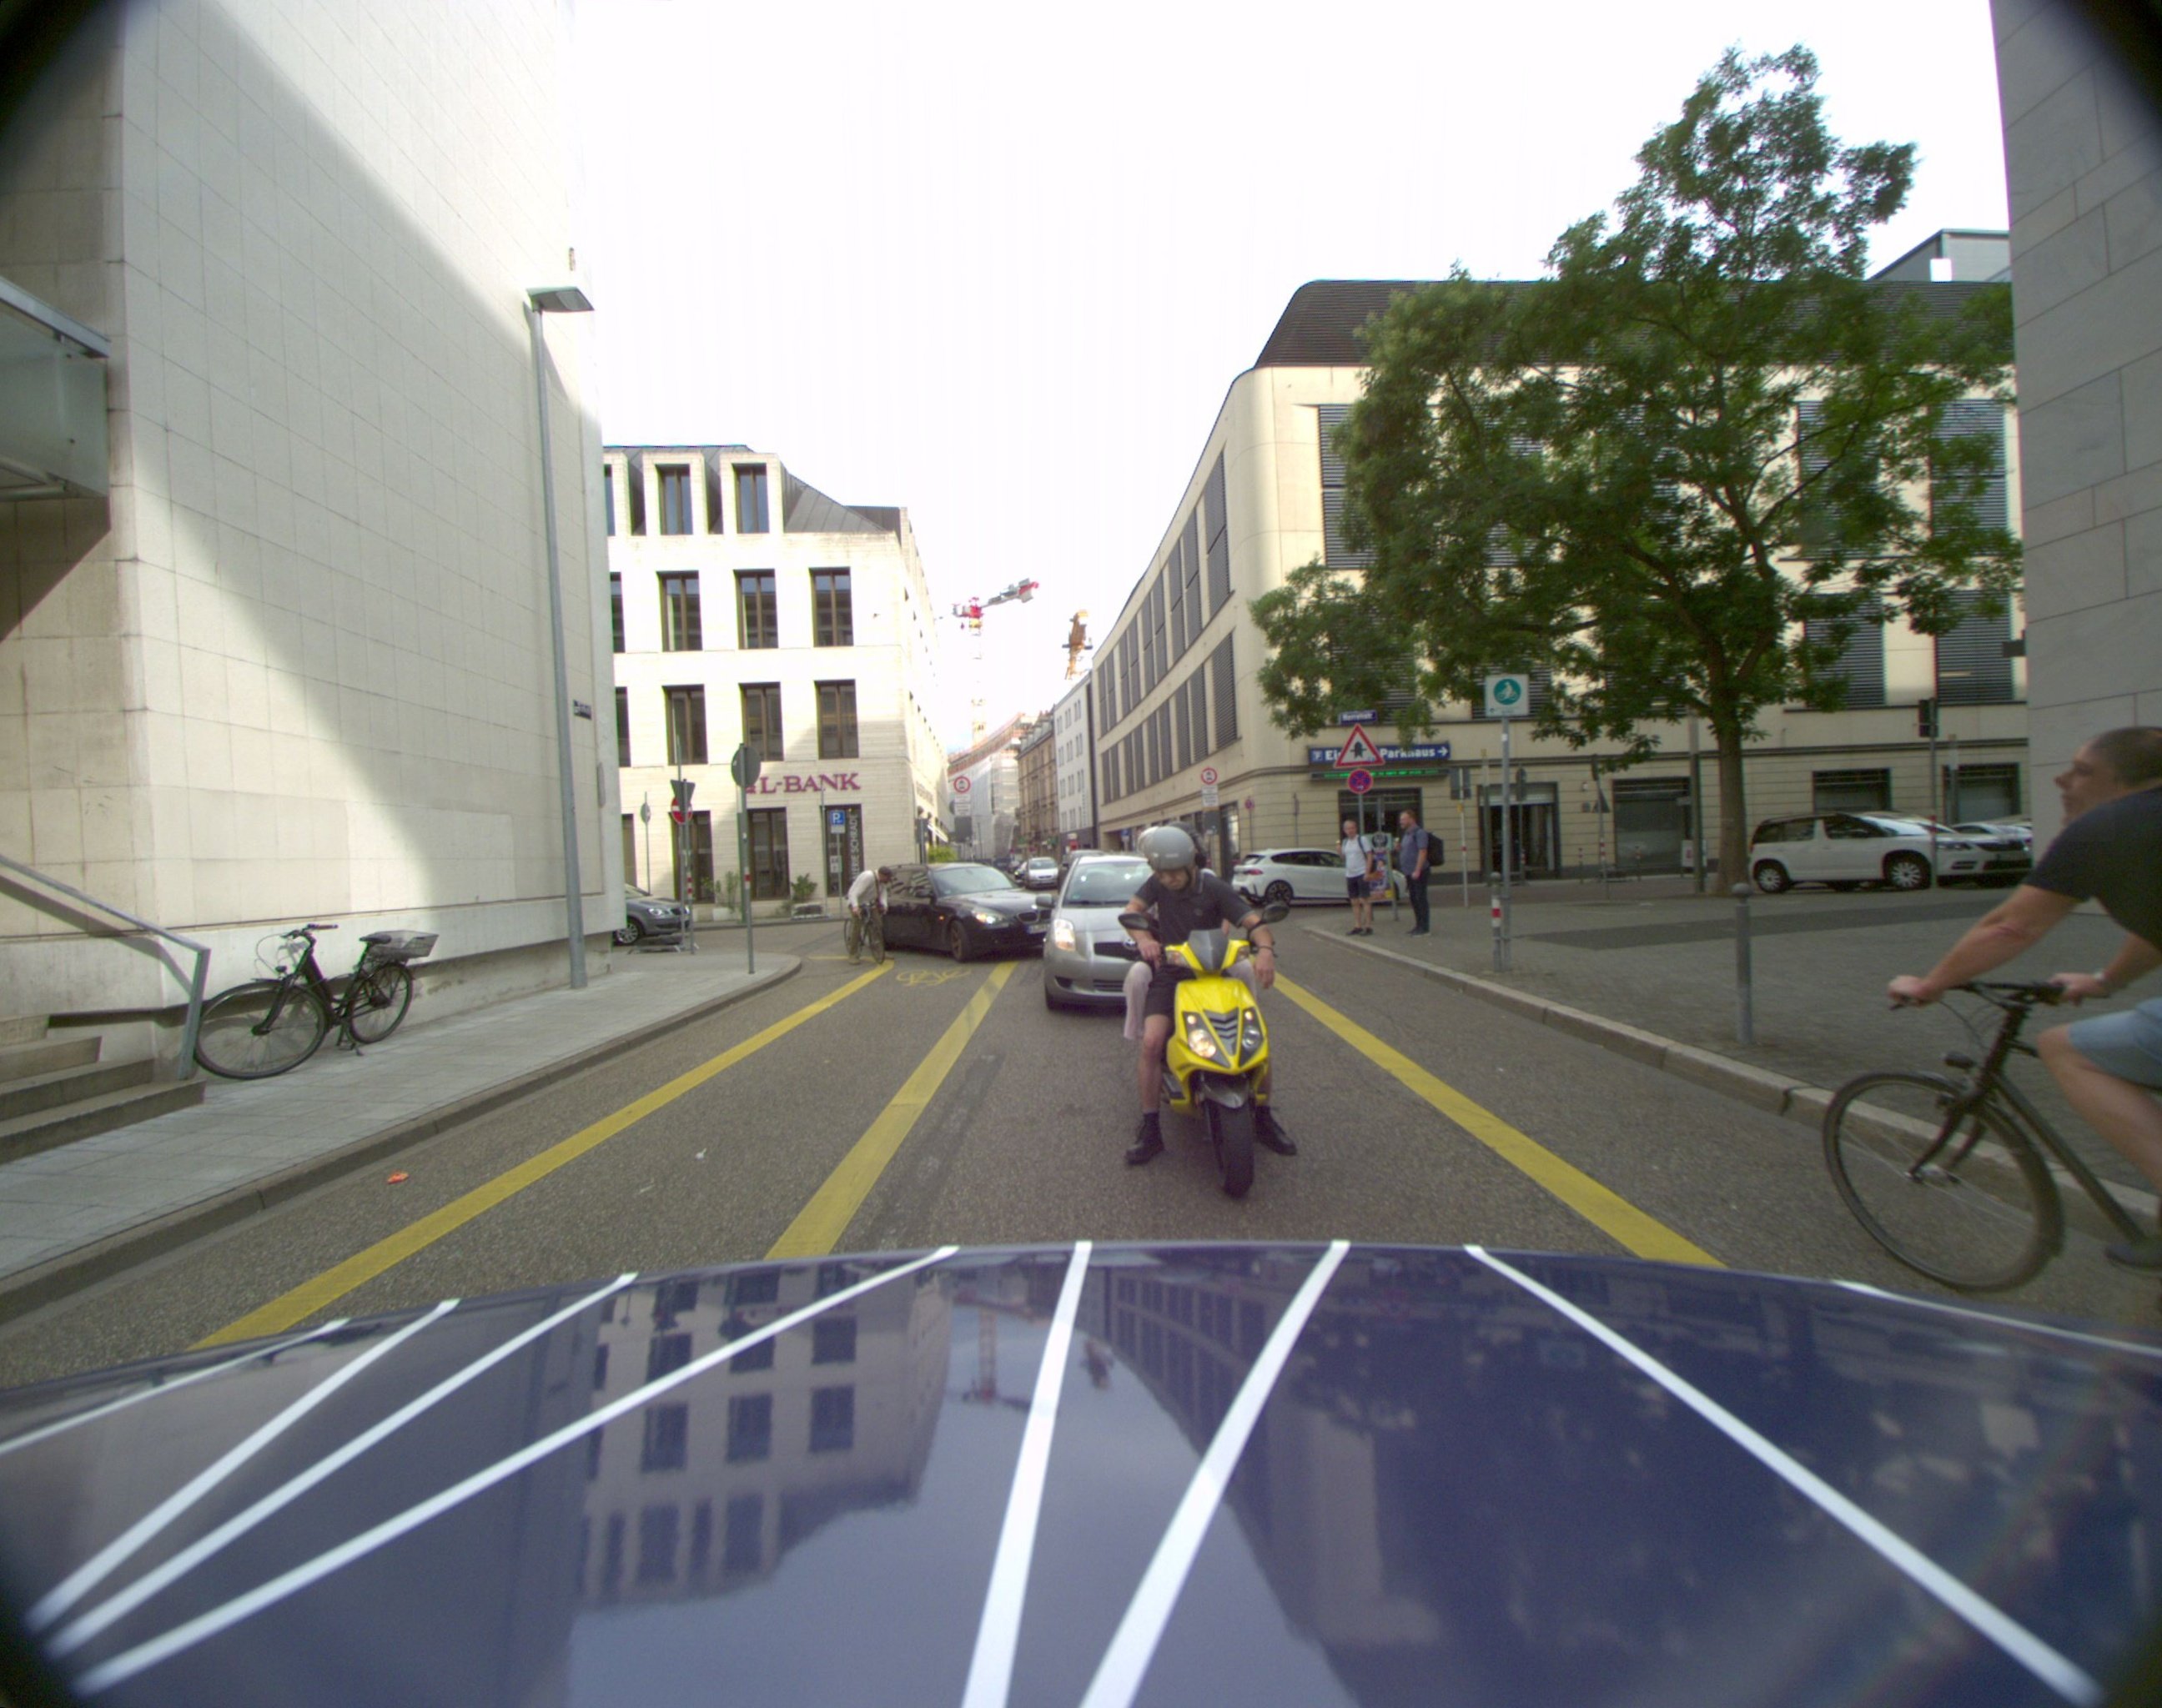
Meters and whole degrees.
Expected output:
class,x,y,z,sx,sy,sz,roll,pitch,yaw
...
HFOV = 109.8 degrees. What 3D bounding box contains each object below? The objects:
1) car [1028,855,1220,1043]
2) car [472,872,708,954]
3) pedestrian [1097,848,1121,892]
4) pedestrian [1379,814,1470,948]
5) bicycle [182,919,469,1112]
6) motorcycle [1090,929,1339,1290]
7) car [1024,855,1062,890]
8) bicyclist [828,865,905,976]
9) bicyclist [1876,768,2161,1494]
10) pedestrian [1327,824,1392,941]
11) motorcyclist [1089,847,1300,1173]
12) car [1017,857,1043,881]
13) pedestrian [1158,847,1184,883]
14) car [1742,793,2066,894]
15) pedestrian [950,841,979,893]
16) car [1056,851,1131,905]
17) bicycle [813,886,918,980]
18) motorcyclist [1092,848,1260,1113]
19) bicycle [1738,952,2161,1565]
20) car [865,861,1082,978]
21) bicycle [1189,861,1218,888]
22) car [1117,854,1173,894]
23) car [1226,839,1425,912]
class,x,y,z,sx,sy,sz,roll,pitch,yaw
car,0.425,0.810,8.324,1.562,1.482,3.784,-3,1,2
car,-11.249,1.315,17.635,4.193,1.581,1.814,-2,1,-2
pedestrian,1.191,0.652,32.286,0.861,1.820,0.773,-2,1,-7
pedestrian,4.938,0.372,10.970,0.745,1.804,0.756,-6,1,-11
bicycle,-6.047,1.214,6.262,0.590,1.160,1.814,-2,1,-4
motorcycle,0.523,1.073,3.941,0.929,1.158,2.127,-1,0,1
car,-1.965,0.885,38.181,1.563,1.547,4.100,-3,1,-7
bicyclist,-3.317,0.980,11.731,0.894,1.585,0.875,-3,1,-30
bicyclist,2.775,0.627,1.859,0.644,1.644,0.939,0,1,1
pedestrian,4.343,0.433,11.882,0.644,1.755,0.653,-3,1,-11
motorcyclist,0.518,0.699,3.922,0.924,1.445,1.065,-1,0,1
car,-3.541,1.019,51.906,1.589,1.477,3.997,-2,1,-6
pedestrian,4.648,0.562,39.339,0.892,1.755,1.060,-6,1,-8
car,15.904,-0.080,15.062,1.899,1.682,3.964,-2,-3,-3
pedestrian,-4.176,0.460,27.185,0.774,1.820,0.860,-3,1,-20
car,0.313,0.692,24.372,1.710,1.482,4.100,-3,1,-8
bicycle,-3.477,1.156,12.015,0.872,1.188,2.857,-3,1,-30
motorcyclist,0.526,0.696,4.533,0.903,1.445,0.742,-1,0,1
bicycle,2.782,0.995,1.872,0.648,1.233,1.953,0,1,1
car,-1.863,0.929,12.199,1.720,1.482,3.755,-3,1,-38
bicycle,5.346,0.879,33.287,0.692,1.038,2.543,-2,1,-4
car,2.710,0.809,33.131,1.563,1.547,4.100,-3,1,-7
car,6.035,0.506,19.078,4.364,1.572,1.814,-2,1,-2
